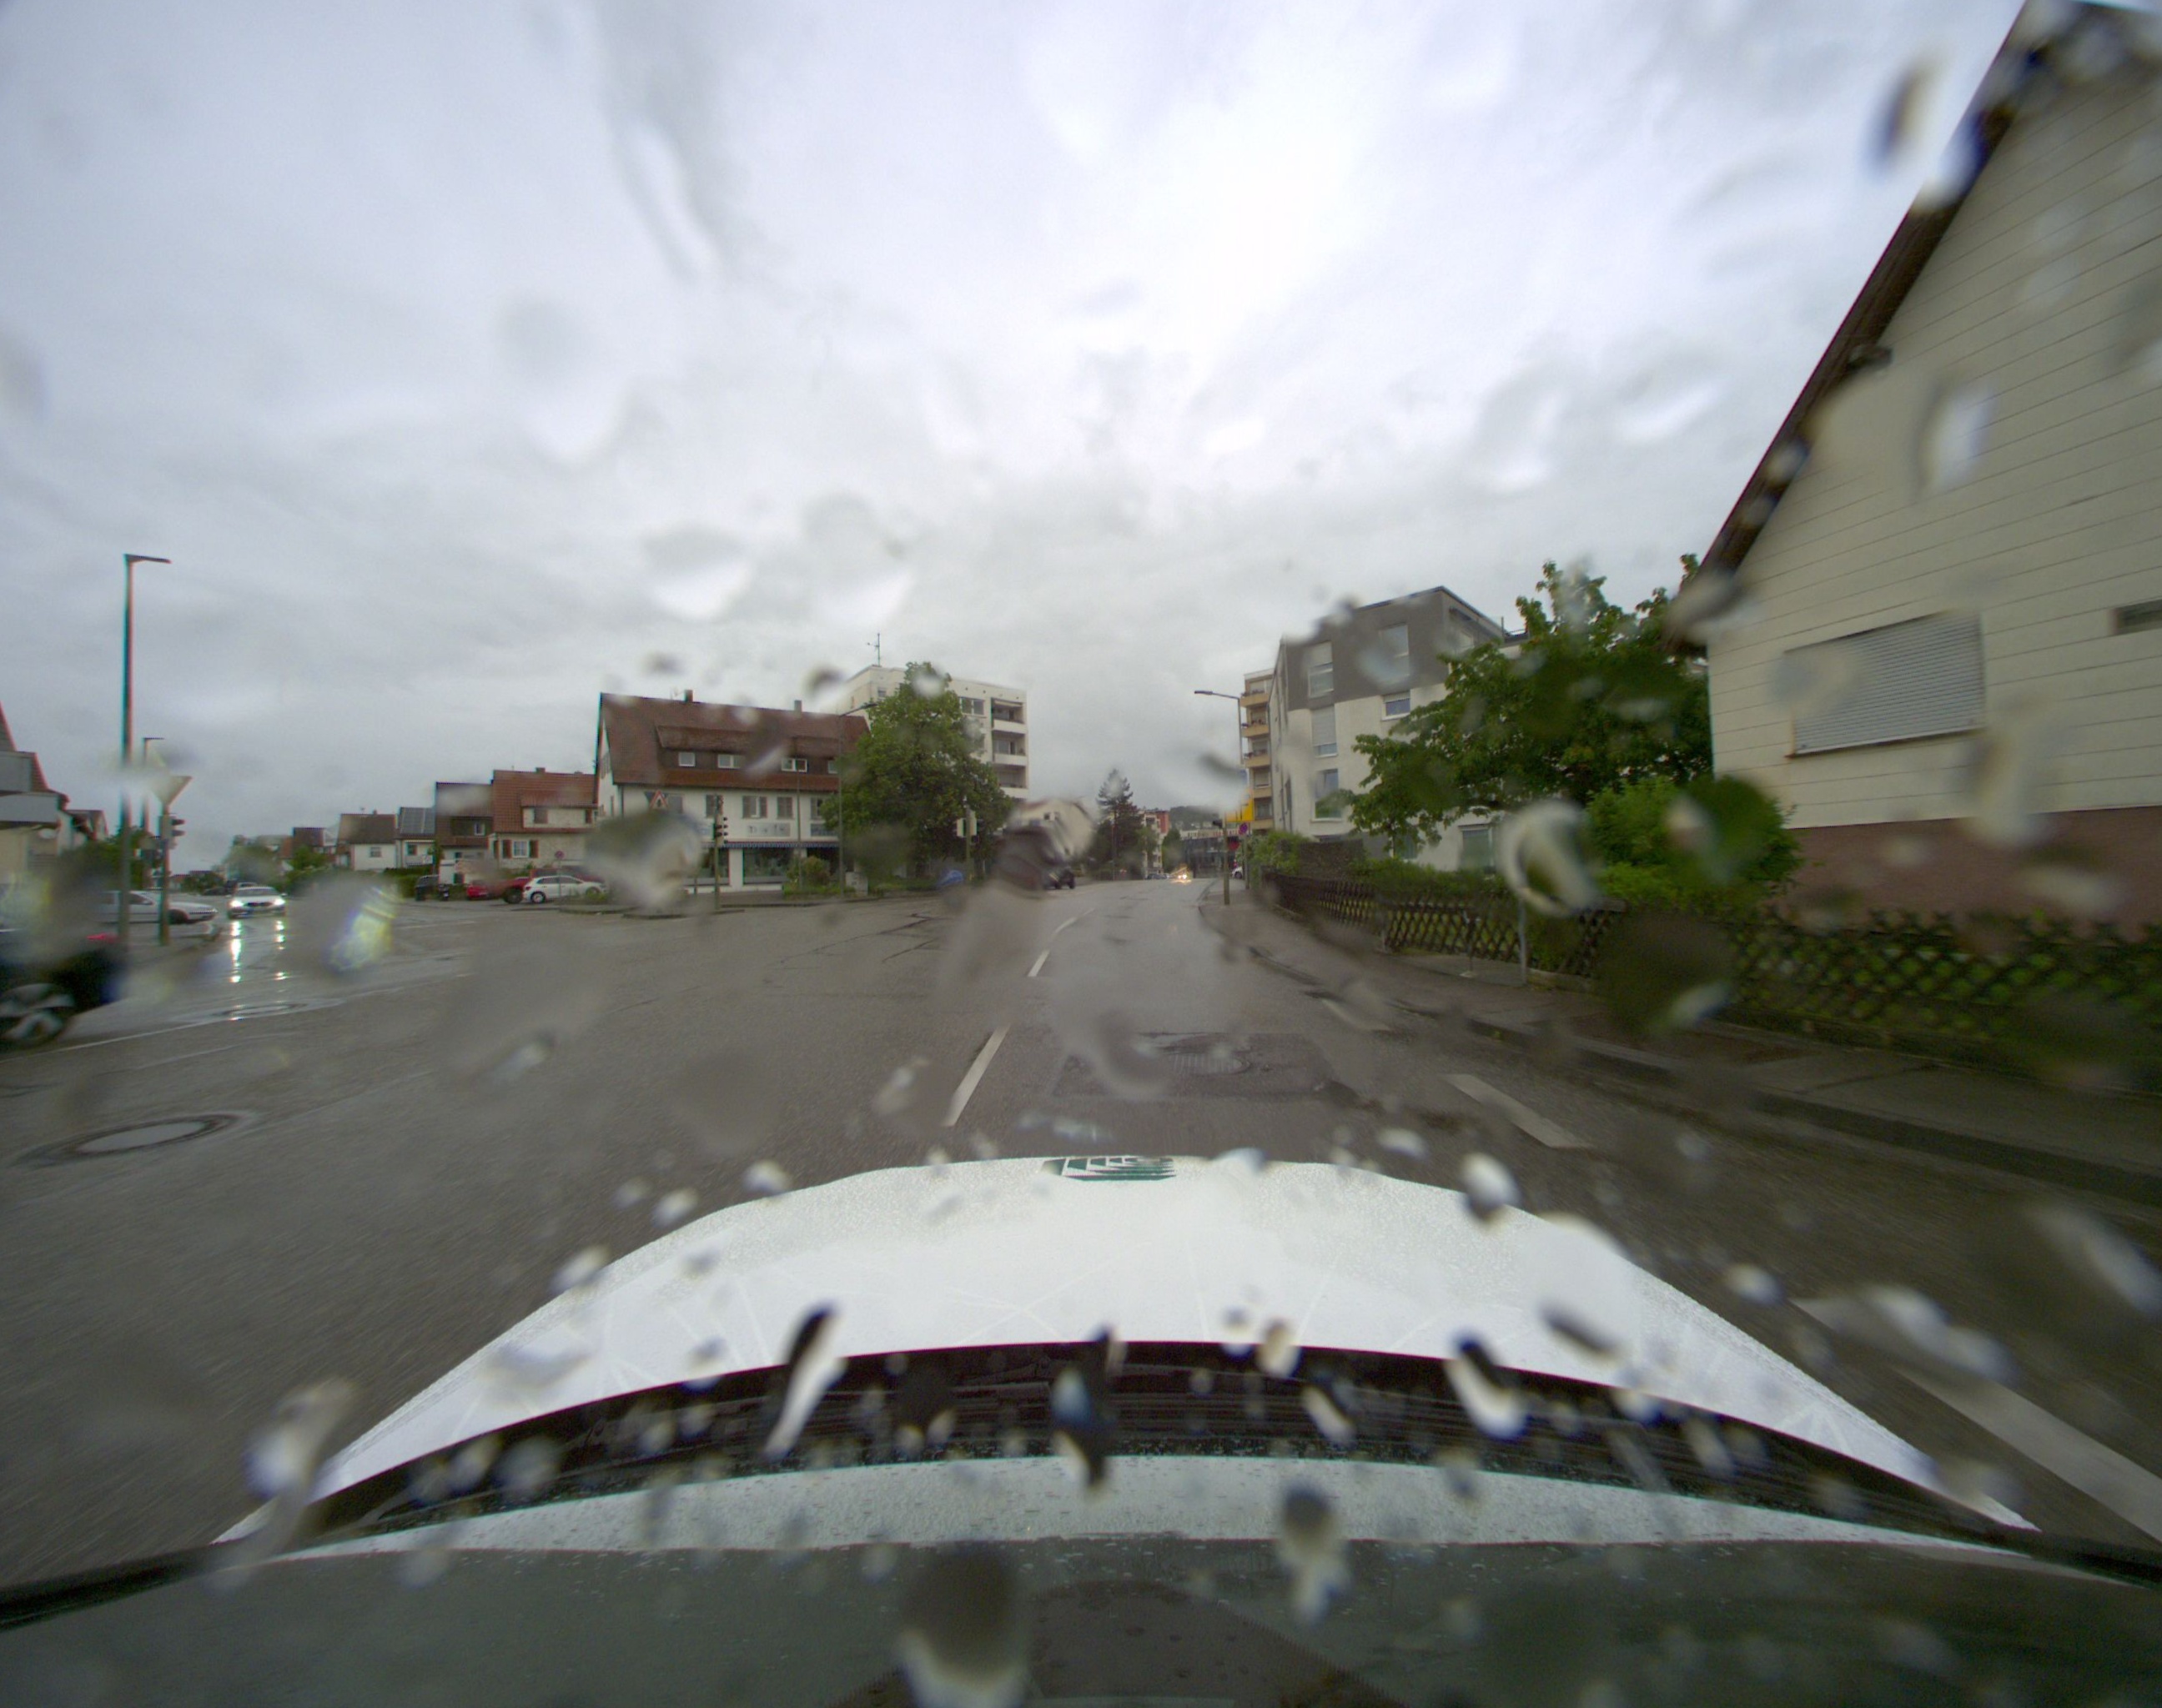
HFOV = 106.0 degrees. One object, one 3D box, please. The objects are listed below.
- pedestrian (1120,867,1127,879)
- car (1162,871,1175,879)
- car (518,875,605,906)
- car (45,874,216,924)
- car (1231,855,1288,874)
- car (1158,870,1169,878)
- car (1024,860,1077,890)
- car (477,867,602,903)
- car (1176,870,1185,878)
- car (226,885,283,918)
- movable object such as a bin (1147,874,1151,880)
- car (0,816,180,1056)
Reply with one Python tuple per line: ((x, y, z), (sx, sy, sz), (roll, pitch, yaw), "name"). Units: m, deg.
((6.084, 2.747, 116.698), (0.865, 1.607, 1.104), (-2, -3, 4), "pedestrian")
((18.395, 4.418, 170.888), (1.921, 1.542, 4.537), (-2, -2, 14), "car")
((-29.011, 2.005, 45.596), (4.015, 1.526, 1.979), (-1, -1, -33), "car")
((-36.924, 1.703, 31.783), (3.929, 1.733, 1.818), (-1, -1, -29), "car")
((14.788, 0.875, 67.526), (4.216, 1.494, 1.885), (-2, 0, 39), "car")
((16.195, 3.858, 159.640), (1.640, 1.521, 4.339), (-2, -2, 14), "car")
((-1.680, 1.172, 46.120), (1.789, 1.557, 4.335), (-2, 0, 15), "car")
((-31.354, 1.743, 47.308), (5.882, 1.842, 1.977), (-1, -1, -39), "car")
((20.525, 4.112, 168.347), (1.688, 1.409, 4.010), (-5, -1, 9), "car")
((-39.882, 2.246, 39.353), (4.234, 1.434, 1.845), (-2, -1, 45), "car")
((13.061, 4.405, 155.989), (0.643, 0.966, 0.685), (-3, -2, 13), "movable object such as a bin")
((-10.105, 0.713, 5.868), (1.987, 2.013, 4.651), (-2, 0, 0), "car")
